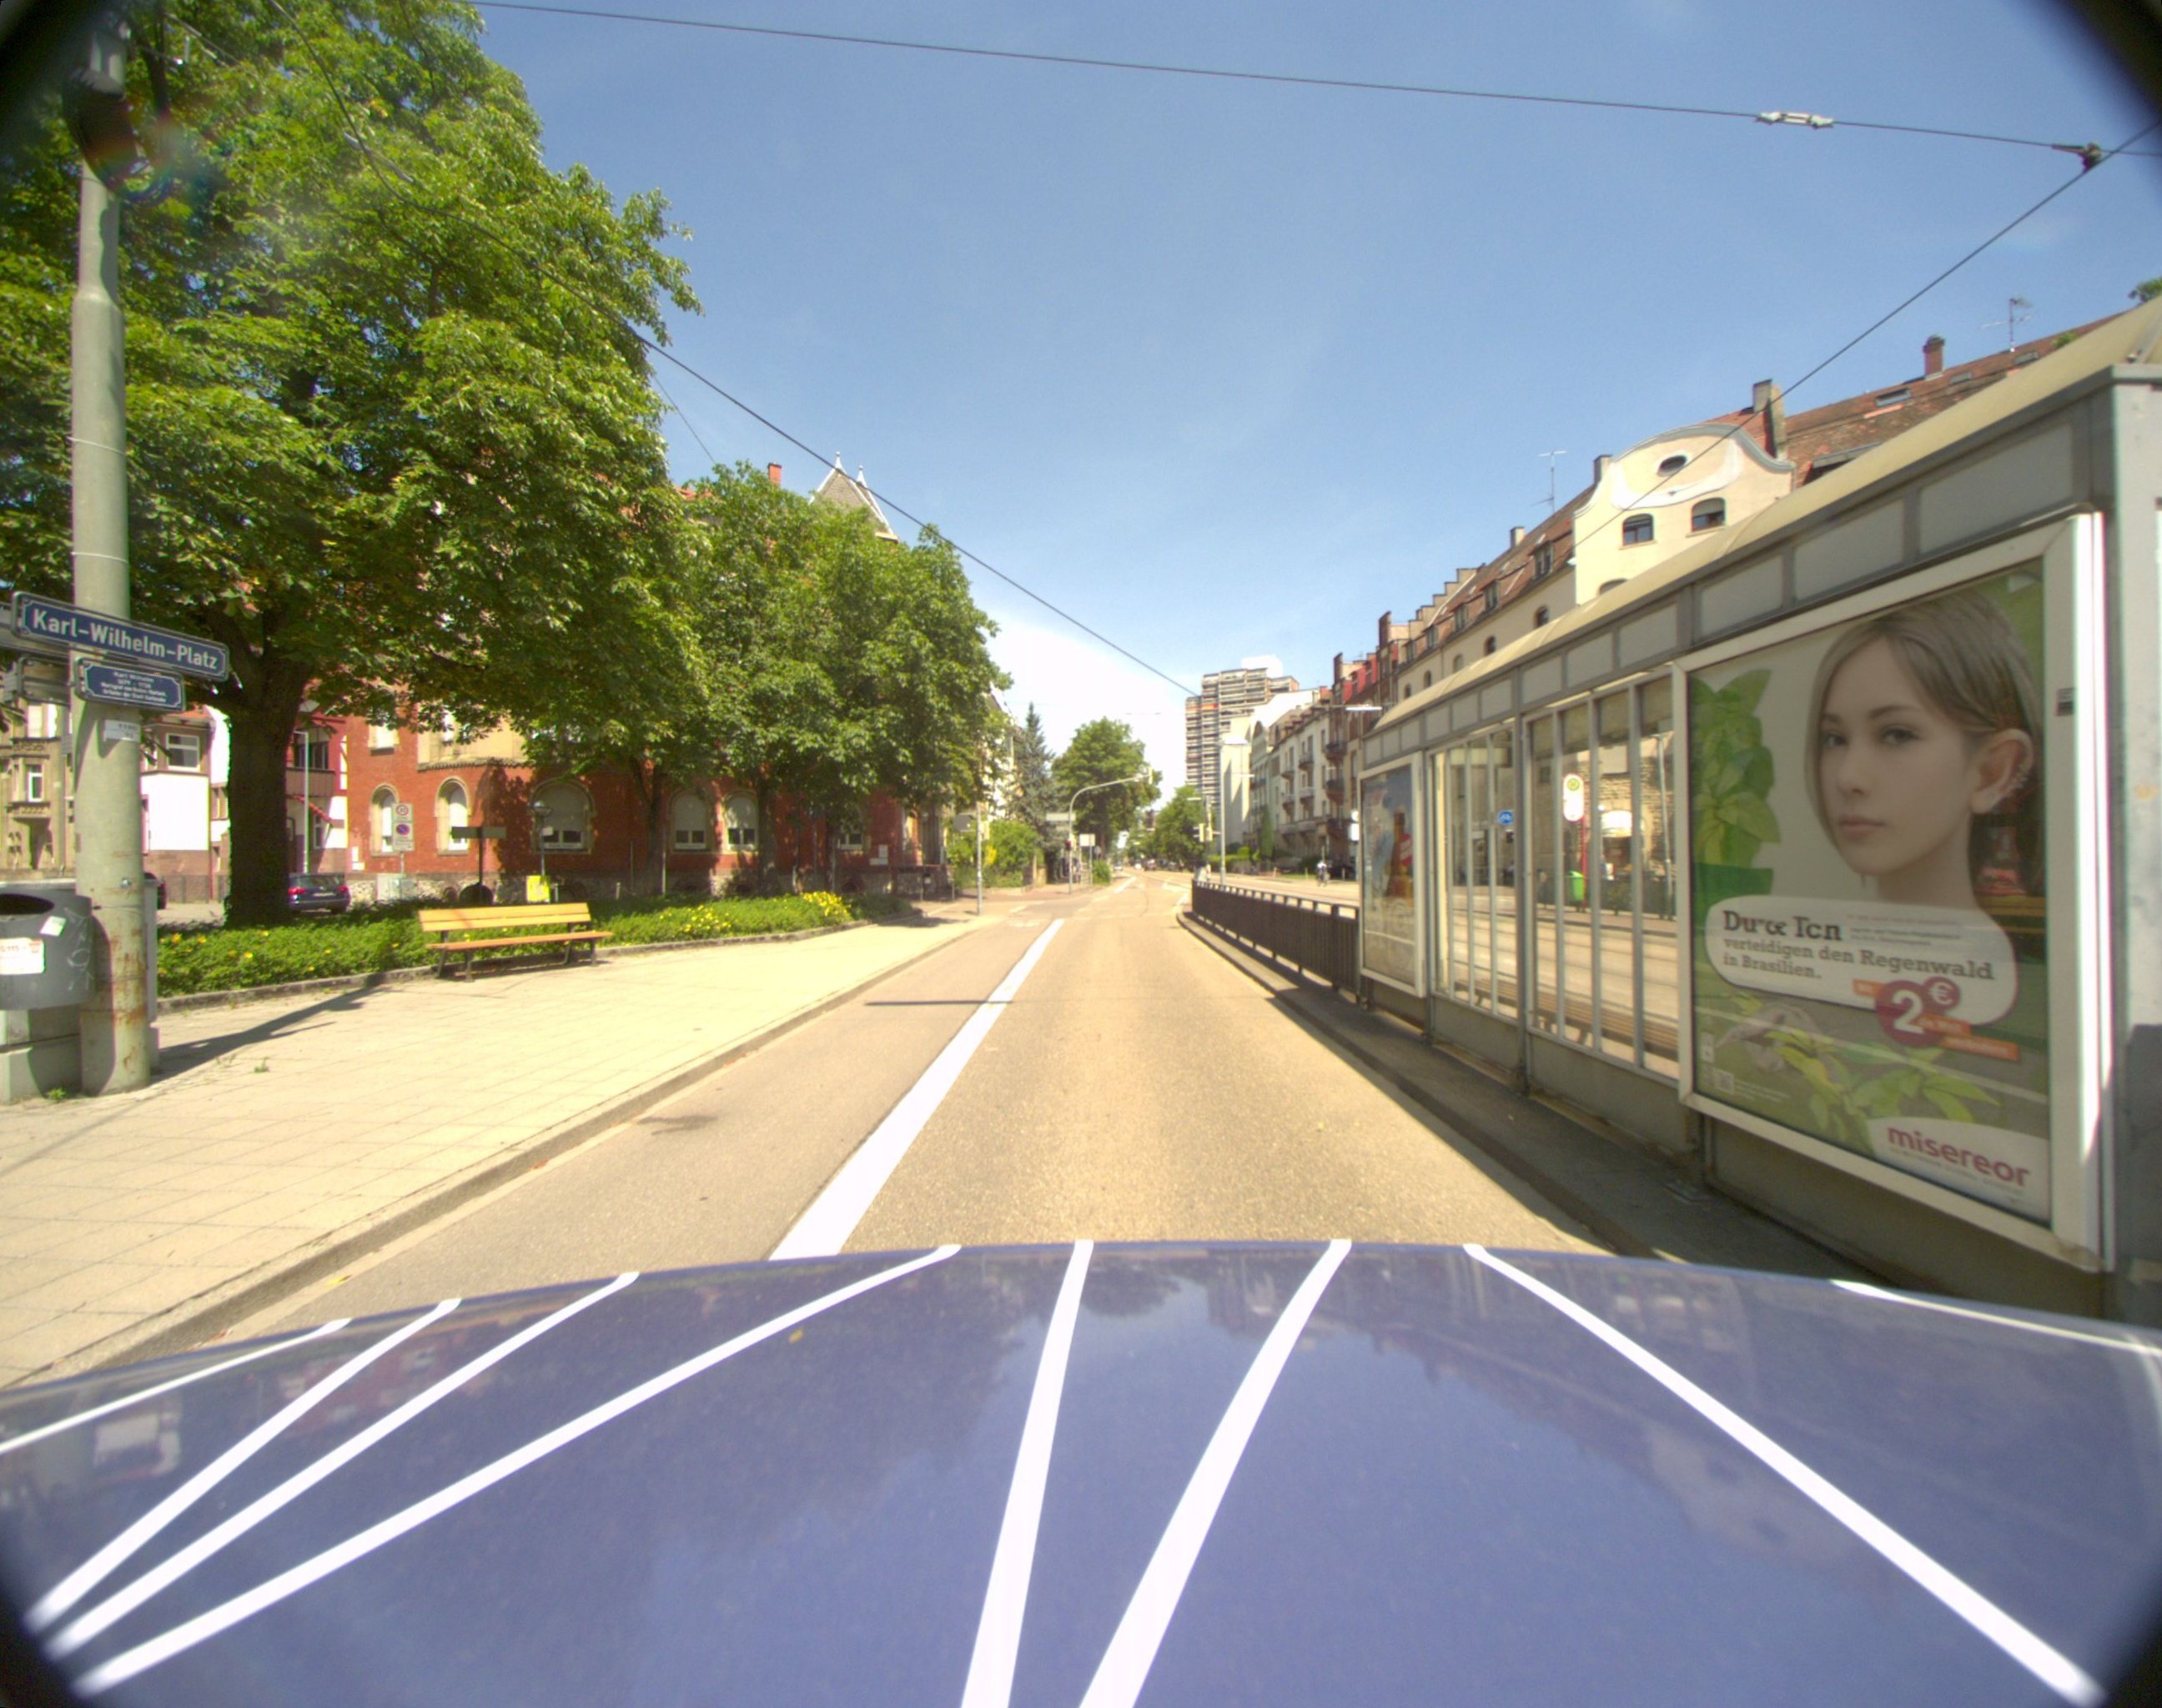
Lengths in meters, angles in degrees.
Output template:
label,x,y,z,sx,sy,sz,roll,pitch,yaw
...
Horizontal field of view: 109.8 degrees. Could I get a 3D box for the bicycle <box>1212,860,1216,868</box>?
label,x,y,z,sx,sy,sz,roll,pitch,yaw
bicycle,18.726,1.396,107.055,0.340,1.062,1.728,-1,0,1

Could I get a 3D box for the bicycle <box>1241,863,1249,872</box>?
label,x,y,z,sx,sy,sz,roll,pitch,yaw
bicycle,18.149,1.456,84.053,0.463,0.943,1.954,-1,0,1

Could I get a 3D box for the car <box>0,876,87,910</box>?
label,x,y,z,sx,sy,sz,roll,pitch,yaw
car,-49.370,1.802,35.714,4.605,1.456,1.908,-1,0,20

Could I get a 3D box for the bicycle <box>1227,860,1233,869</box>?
label,x,y,z,sx,sy,sz,roll,pitch,yaw
bicycle,18.706,1.289,95.425,0.290,1.040,1.900,-1,0,1

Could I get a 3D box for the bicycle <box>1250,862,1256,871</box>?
label,x,y,z,sx,sy,sz,roll,pitch,yaw
bicycle,18.090,1.338,79.952,0.253,0.911,1.614,-1,0,1

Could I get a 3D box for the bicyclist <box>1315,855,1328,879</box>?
label,x,y,z,sx,sy,sz,roll,pitch,yaw
bicyclist,16.003,0.865,50.550,0.609,1.565,0.585,-1,1,1

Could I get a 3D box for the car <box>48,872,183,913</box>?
label,x,y,z,sx,sy,sz,roll,pitch,yaw
car,-40.331,1.579,31.735,5.477,1.523,1.991,-1,0,22

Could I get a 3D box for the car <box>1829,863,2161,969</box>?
label,x,y,z,sx,sy,sz,roll,pitch,yaw
car,14.450,0.856,12.028,1.545,1.331,3.718,-1,0,-1

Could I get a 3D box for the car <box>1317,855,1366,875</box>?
label,x,y,z,sx,sy,sz,roll,pitch,yaw
car,20.853,0.893,60.898,3.361,1.463,1.530,-2,0,5

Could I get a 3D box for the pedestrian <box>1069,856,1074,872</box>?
label,x,y,z,sx,sy,sz,roll,pitch,yaw
pedestrian,-1.017,1.103,84.686,0.547,1.683,0.755,0,1,1

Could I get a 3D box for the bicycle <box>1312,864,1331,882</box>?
label,x,y,z,sx,sy,sz,roll,pitch,yaw
bicycle,16.030,1.261,50.679,0.629,1.150,1.978,-1,0,1

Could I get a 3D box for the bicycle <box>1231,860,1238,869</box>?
label,x,y,z,sx,sy,sz,roll,pitch,yaw
bicycle,18.616,1.279,92.024,0.493,1.090,2.047,-1,0,1

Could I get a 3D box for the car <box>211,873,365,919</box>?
label,x,y,z,sx,sy,sz,roll,pitch,yaw
car,-27.506,1.422,26.358,4.748,1.433,1.908,-1,0,20

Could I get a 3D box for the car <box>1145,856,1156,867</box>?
label,x,y,z,sx,sy,sz,roll,pitch,yaw
car,13.012,1.396,142.069,1.848,1.926,4.823,1,0,2
